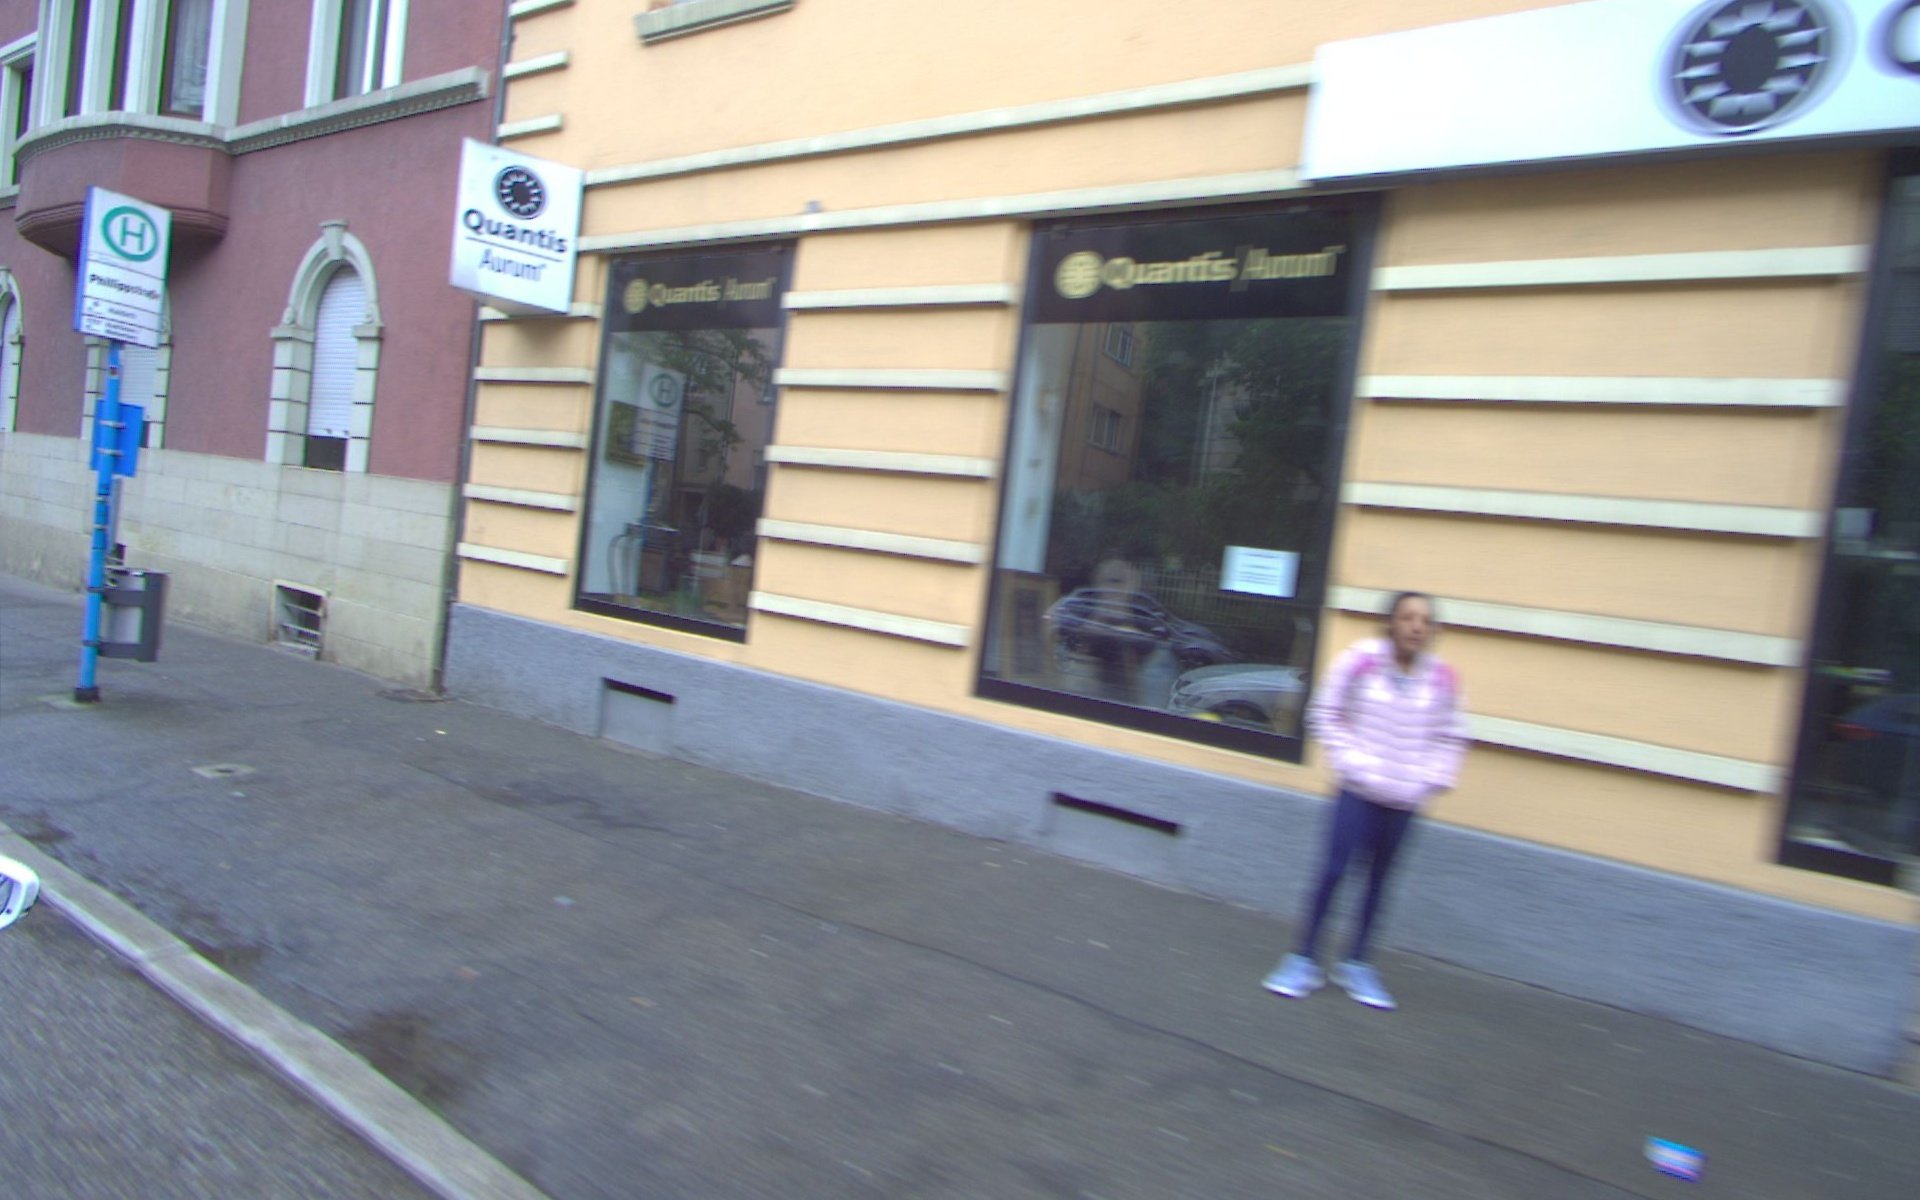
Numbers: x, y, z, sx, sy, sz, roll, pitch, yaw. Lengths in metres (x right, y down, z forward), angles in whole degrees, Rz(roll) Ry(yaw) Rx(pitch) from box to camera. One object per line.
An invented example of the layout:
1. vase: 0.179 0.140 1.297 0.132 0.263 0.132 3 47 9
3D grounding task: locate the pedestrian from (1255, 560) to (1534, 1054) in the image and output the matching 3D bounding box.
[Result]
1. pedestrian: 1.583 0.701 3.818 0.698 1.610 0.768 5 1 13
